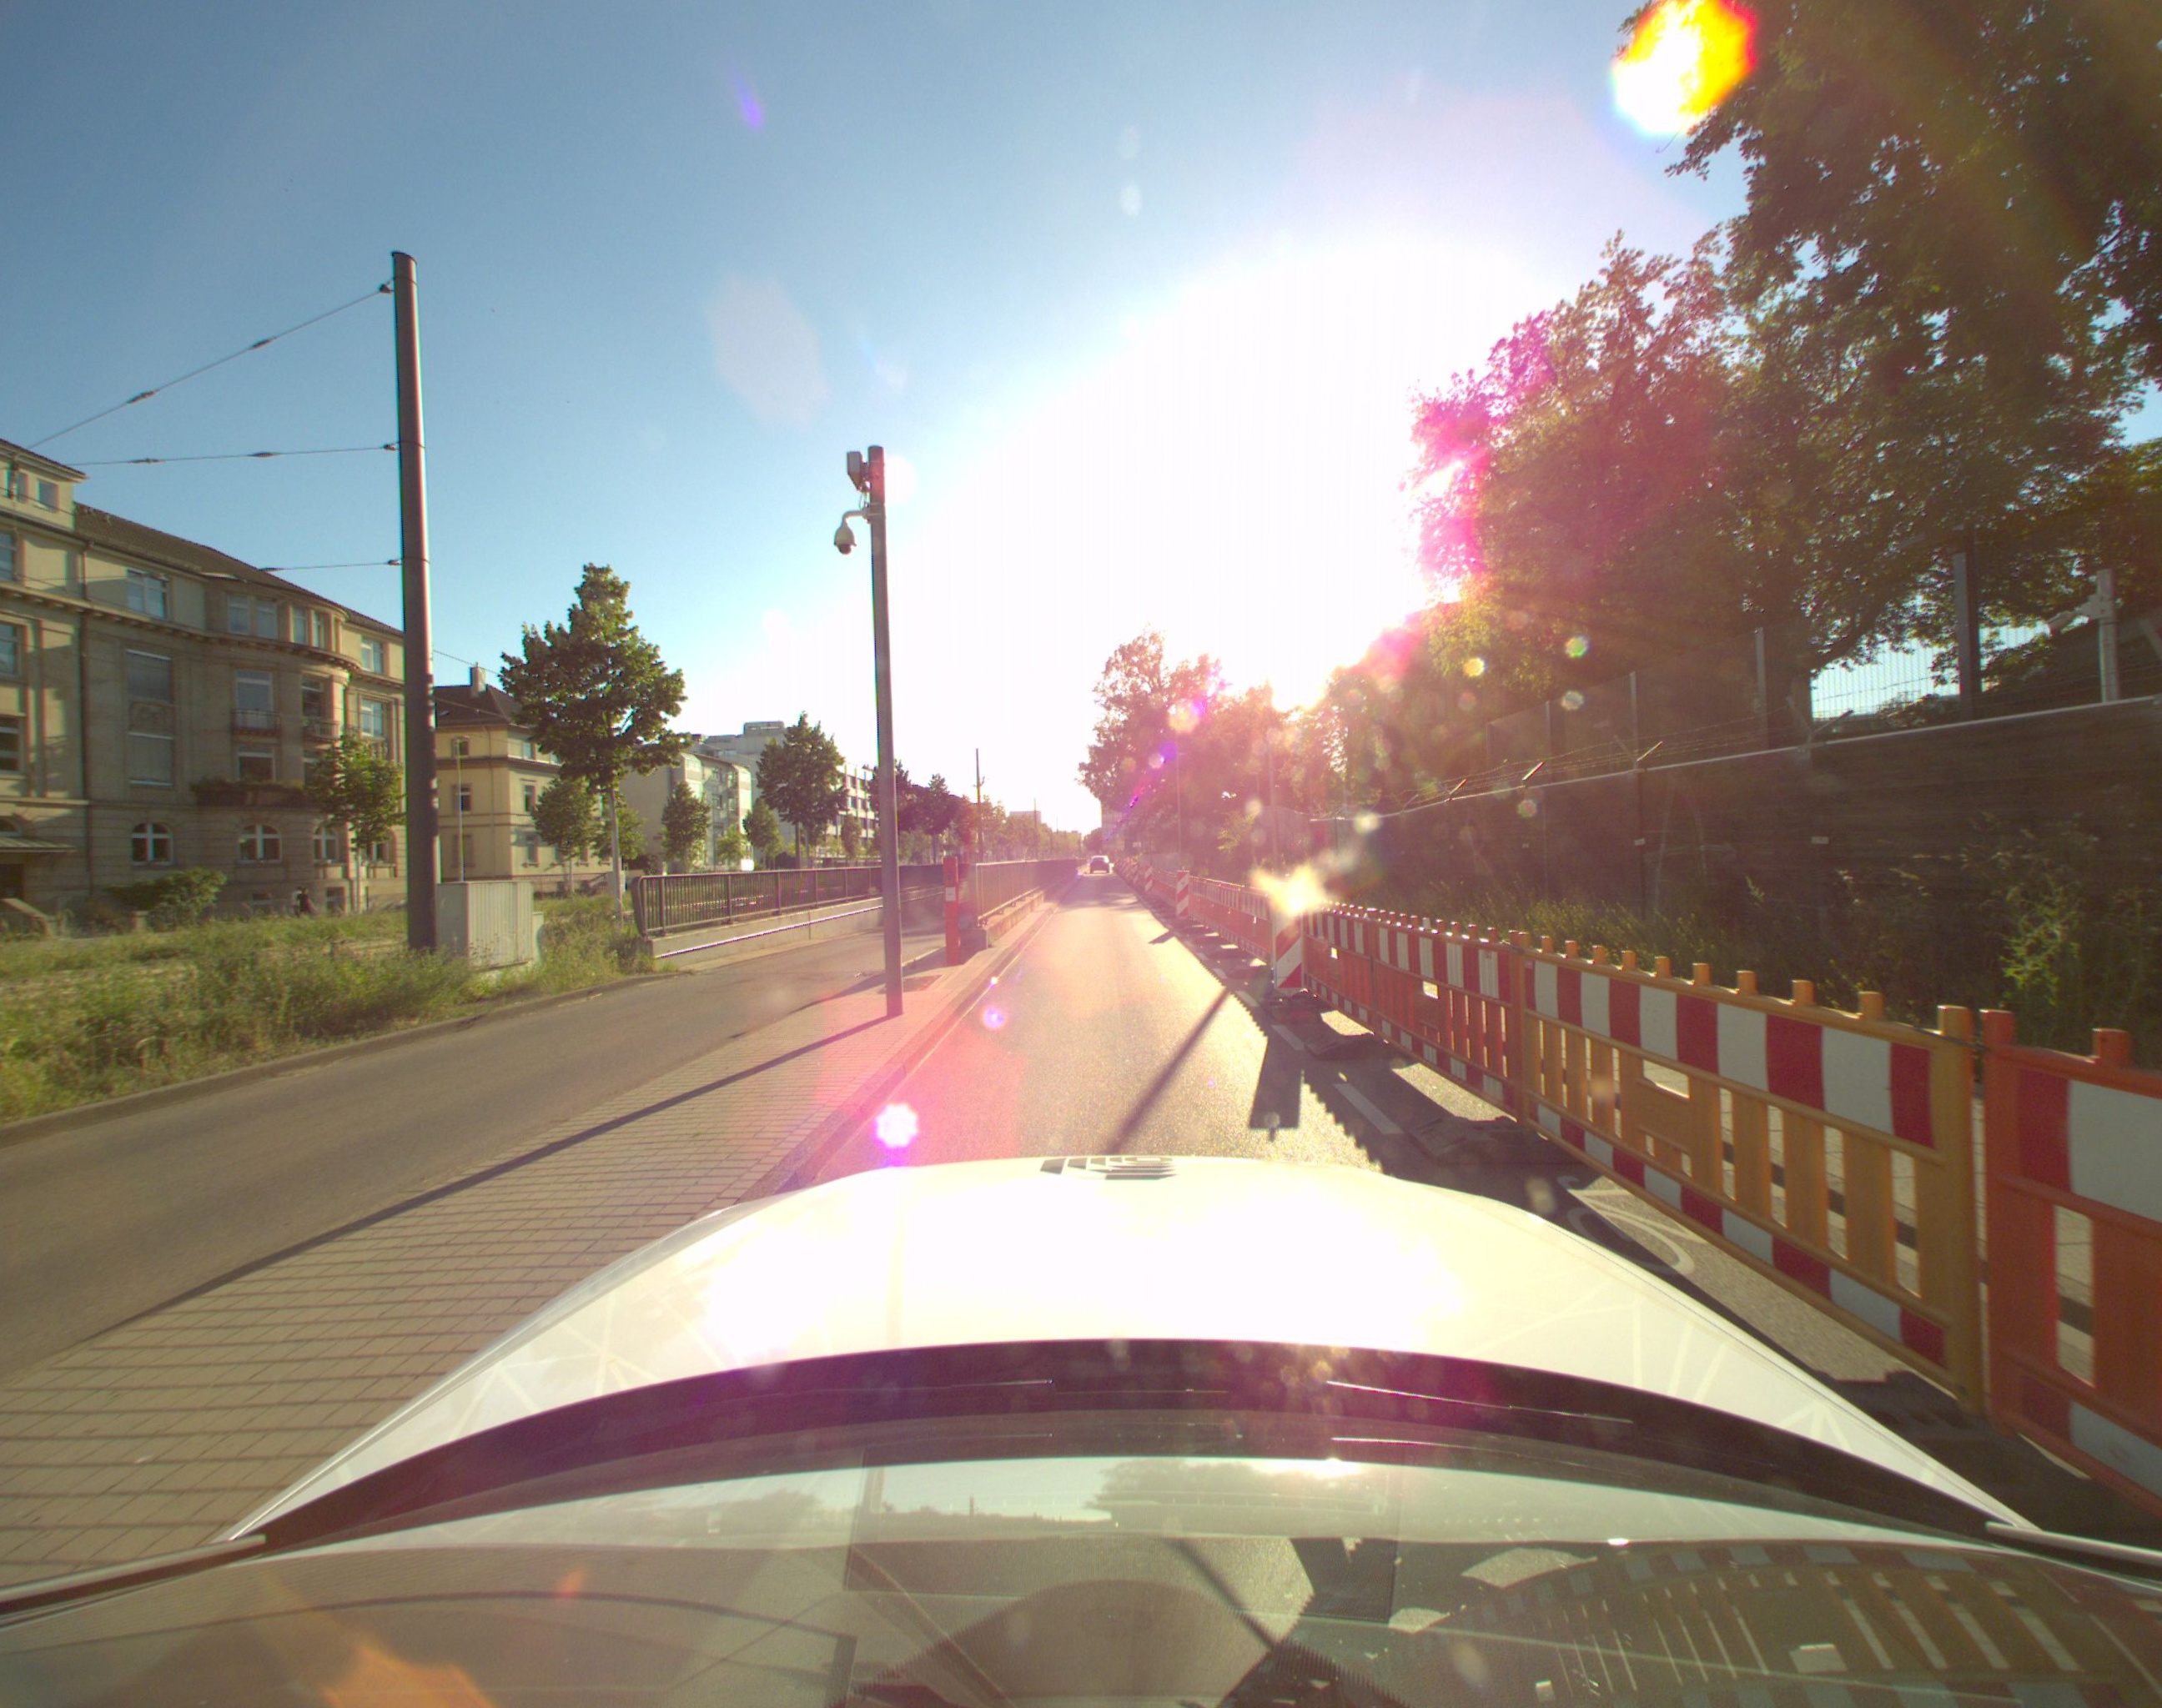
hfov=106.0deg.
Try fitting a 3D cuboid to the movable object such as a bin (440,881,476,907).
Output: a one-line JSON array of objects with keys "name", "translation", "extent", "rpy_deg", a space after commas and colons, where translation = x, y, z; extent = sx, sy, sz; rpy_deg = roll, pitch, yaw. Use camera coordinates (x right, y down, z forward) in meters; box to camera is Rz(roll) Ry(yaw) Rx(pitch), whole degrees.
[{"name": "movable object such as a bin", "translation": [-36.633, 2.367, 47.905], "extent": [1.201, 1.429, 1.080], "rpy_deg": [-2, 0, 1]}]

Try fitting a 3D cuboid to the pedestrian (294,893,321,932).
[{"name": "pedestrian", "translation": [-35.379, 2.677, 37.241], "extent": [0.553, 1.720, 0.653], "rpy_deg": [-2, -1, 1]}]

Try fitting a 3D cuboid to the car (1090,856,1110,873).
[{"name": "car", "translation": [1.937, 1.056, 83.561], "extent": [1.997, 1.659, 4.002], "rpy_deg": [0, -1, 2]}]

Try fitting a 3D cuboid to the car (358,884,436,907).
[{"name": "car", "translation": [-46.942, 2.856, 55.968], "extent": [3.971, 1.469, 1.683], "rpy_deg": [-1, -1, 2]}]

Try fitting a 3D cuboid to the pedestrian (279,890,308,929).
[{"name": "pedestrian", "translation": [-36.036, 2.544, 37.277], "extent": [0.653, 1.720, 0.653], "rpy_deg": [-2, -1, 1]}]
